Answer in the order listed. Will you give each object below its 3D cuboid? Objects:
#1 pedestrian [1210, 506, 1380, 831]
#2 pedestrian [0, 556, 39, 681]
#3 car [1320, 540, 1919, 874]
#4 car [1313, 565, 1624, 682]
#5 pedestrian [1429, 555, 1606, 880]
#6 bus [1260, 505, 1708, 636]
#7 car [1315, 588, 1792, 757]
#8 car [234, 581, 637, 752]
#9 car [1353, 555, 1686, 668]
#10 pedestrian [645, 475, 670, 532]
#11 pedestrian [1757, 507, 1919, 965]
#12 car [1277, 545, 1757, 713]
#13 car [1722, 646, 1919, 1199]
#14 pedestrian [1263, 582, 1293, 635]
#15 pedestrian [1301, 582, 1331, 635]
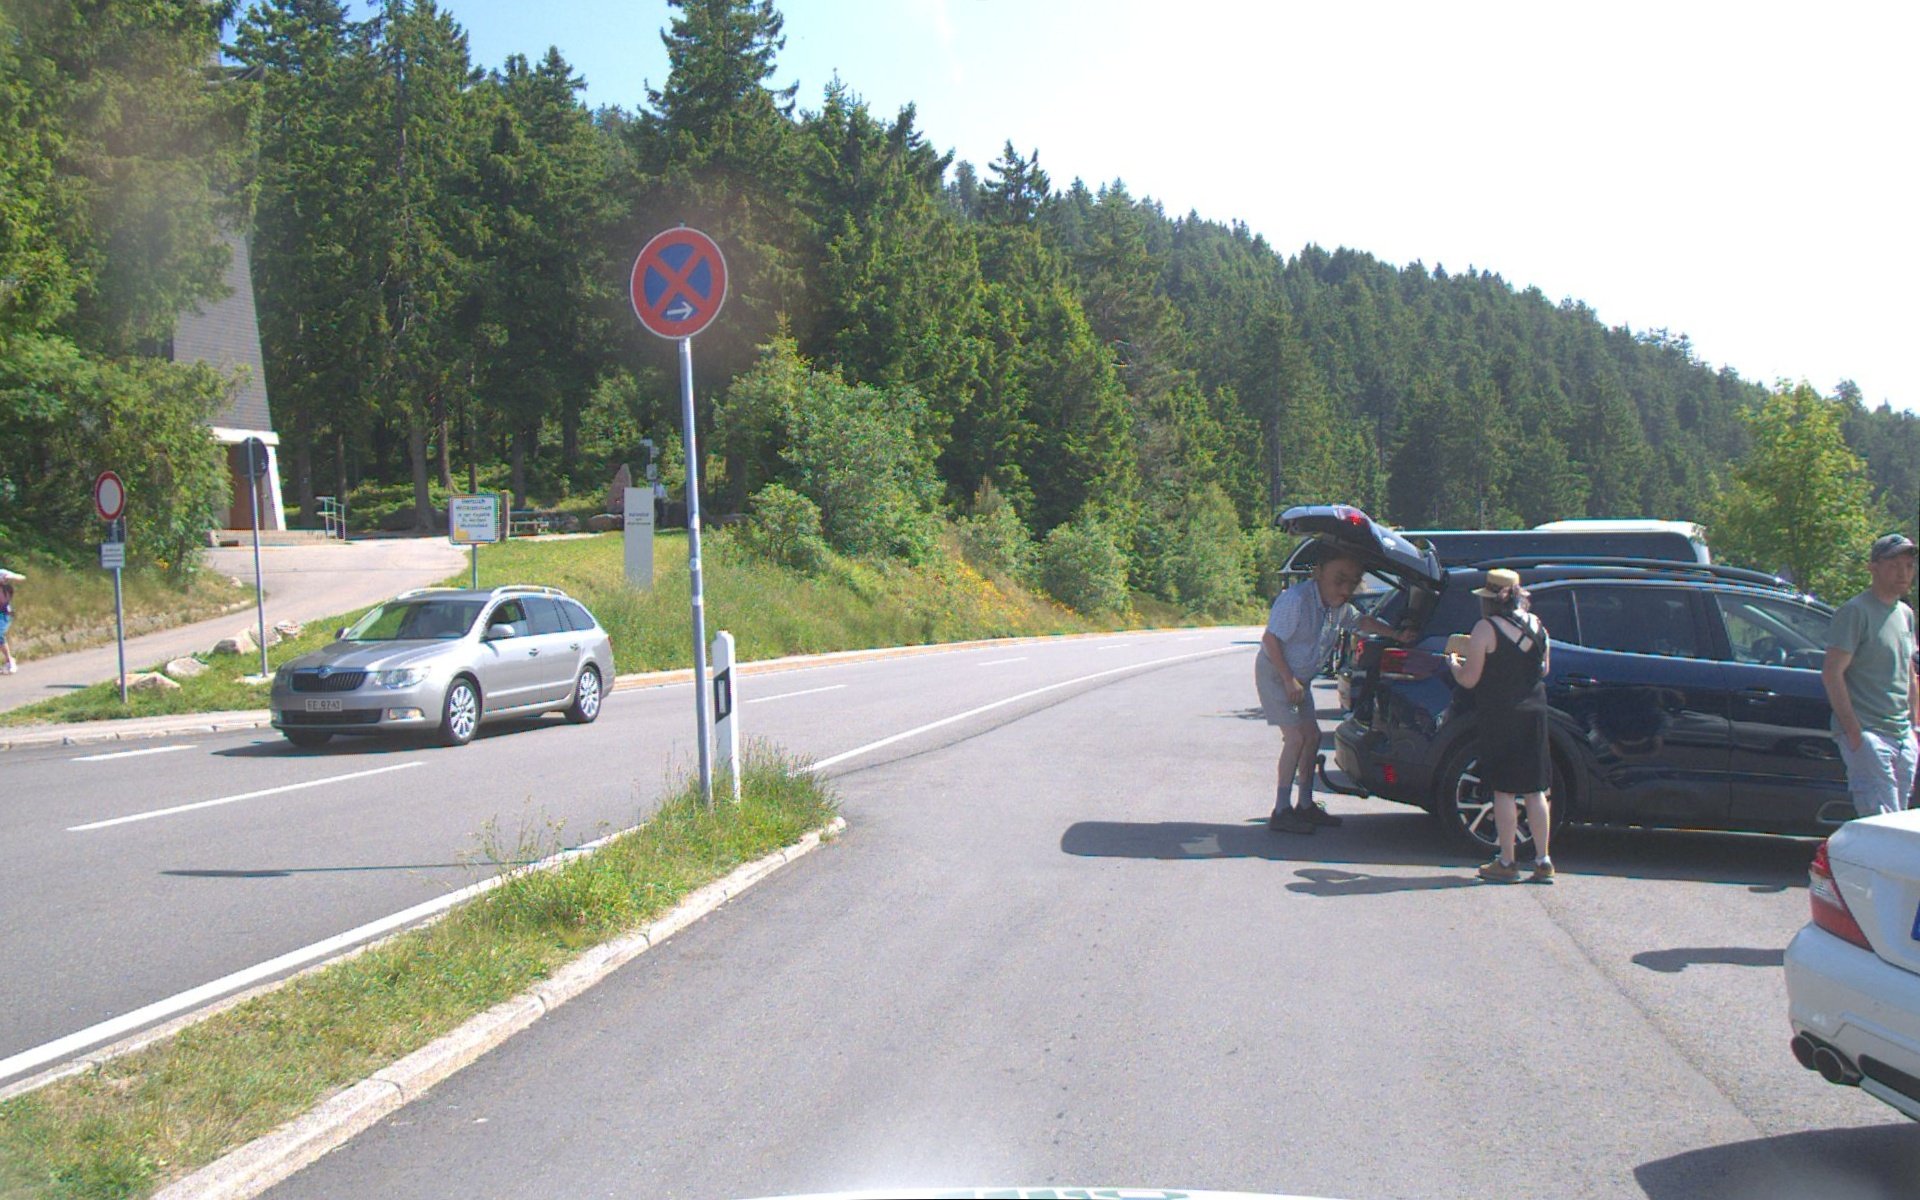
[{"bbox_3d":[2.068,0.379,10.218,0.725,1.903,0.753,3,4,44],"label":"pedestrian"},{"bbox_3d":[-13.400,0.254,23.018,0.704,1.710,0.683,-2,0,6],"label":"pedestrian"},{"bbox_3d":[4.415,0.595,9.854,4.252,1.654,1.871,3,0,8],"label":"car"},{"bbox_3d":[7.317,0.341,24.136,4.153,1.581,1.840,-1,0,14],"label":"car"},{"bbox_3d":[2.911,0.600,8.671,0.700,1.641,0.536,1,0,-7],"label":"pedestrian"},{"bbox_3d":[15.989,-0.806,51.074,12.830,3.594,3.042,-1,0,24],"label":"bus"},{"bbox_3d":[5.514,0.640,15.816,3.994,1.400,1.704,2,0,7],"label":"car"},{"bbox_3d":[-5.132,0.565,16.996,1.839,1.500,4.718,0,0,12],"label":"car"},{"bbox_3d":[8.953,0.193,26.930,4.926,1.680,2.049,-1,0,14],"label":"car"},{"bbox_3d":[-10.533,-3.358,57.634,0.538,1.910,0.671,-2,0,-44],"label":"pedestrian"},{"bbox_3d":[3.991,0.548,7.075,0.734,1.831,0.732,1,0,-19],"label":"pedestrian"},{"bbox_3d":[6.120,0.314,18.606,4.844,1.725,1.946,-1,0,16],"label":"car"},{"bbox_3d":[4.412,0.882,4.115,4.317,1.318,1.752,2,1,-10],"label":"car"},{"bbox_3d":[9.862,0.260,51.287,0.754,1.613,0.772,-1,0,20],"label":"pedestrian"},{"bbox_3d":[10.915,0.261,50.670,0.754,1.613,0.772,-1,0,20],"label":"pedestrian"}]
